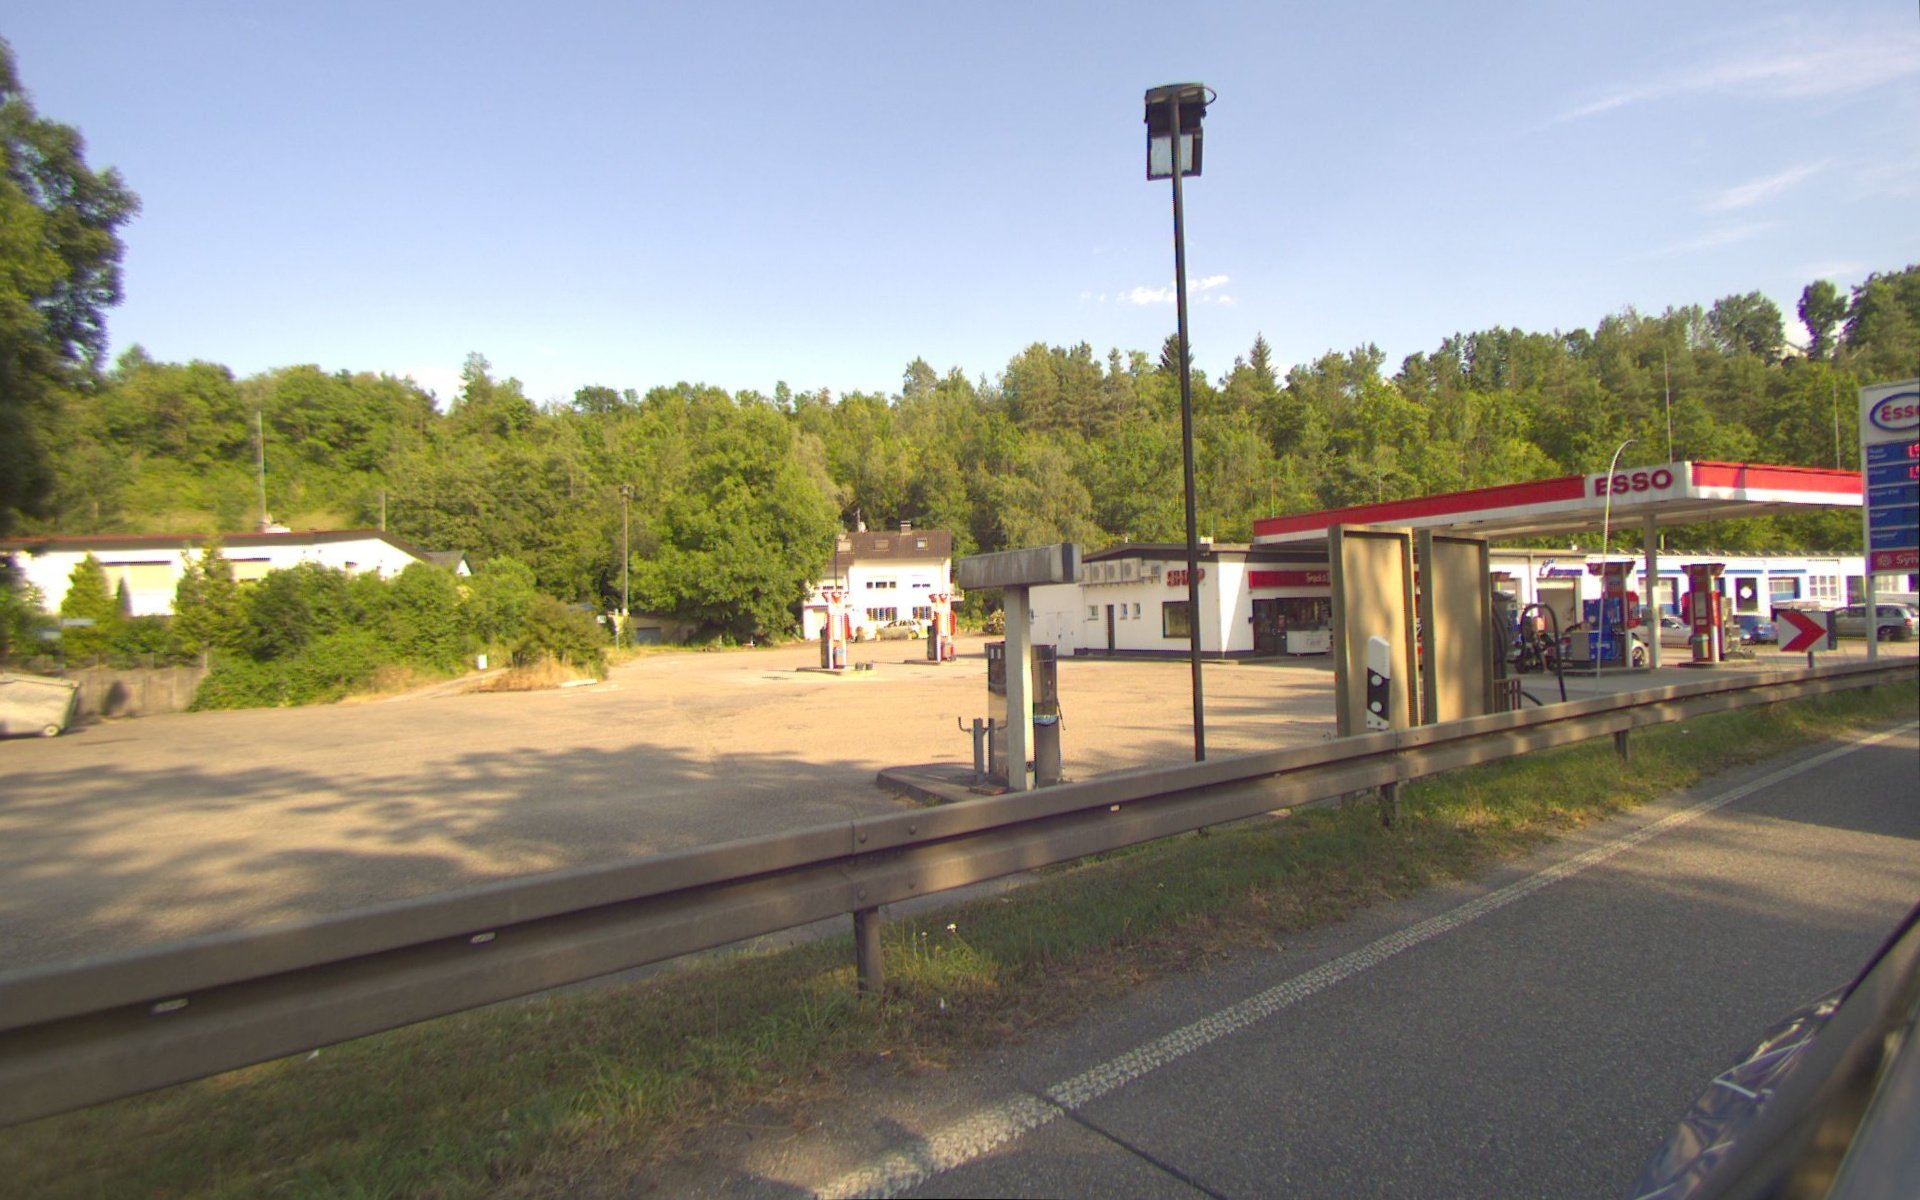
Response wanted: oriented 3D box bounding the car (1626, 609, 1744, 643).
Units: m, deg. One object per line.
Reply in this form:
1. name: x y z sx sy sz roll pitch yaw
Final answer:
1. car: 32.694 1.144 45.735 1.741 1.371 3.973 -1 1 -30

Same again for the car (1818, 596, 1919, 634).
1. car: 46.264 0.712 50.948 1.854 1.750 4.267 -1 2 -29

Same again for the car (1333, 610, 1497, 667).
1. car: 14.610 1.181 32.478 5.074 1.649 2.102 -1 -1 -28

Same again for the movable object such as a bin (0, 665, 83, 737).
1. movable object such as a bin: -20.395 2.176 21.593 2.512 1.439 1.267 0 -4 -41

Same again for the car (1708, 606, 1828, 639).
1. car: 38.794 1.054 48.699 1.856 1.365 4.087 -1 2 -26

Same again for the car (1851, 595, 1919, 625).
1. car: 52.796 0.552 56.454 1.856 1.631 4.261 -1 1 -26

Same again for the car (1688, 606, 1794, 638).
1. car: 36.878 1.024 47.870 1.698 1.464 3.560 -1 -1 -26

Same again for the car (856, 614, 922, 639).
1. car: -5.669 2.155 81.482 5.068 1.860 2.701 -1 -1 0

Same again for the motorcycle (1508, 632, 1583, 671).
1. motorcycle: 17.160 1.490 29.656 2.293 1.025 0.765 -1 -1 -27

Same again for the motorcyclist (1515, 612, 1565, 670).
1. motorcyclist: 16.942 1.182 29.562 0.909 1.625 0.862 0 -1 -27

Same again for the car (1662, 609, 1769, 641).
1. car: 34.933 1.124 46.881 1.656 1.424 3.566 -1 0 -26

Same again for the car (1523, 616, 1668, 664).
1. car: 19.943 1.211 31.761 4.299 1.336 1.851 -1 -1 -26

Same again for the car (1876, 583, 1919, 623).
1. car: 56.972 0.174 58.543 2.248 2.302 5.500 0 1 -26
